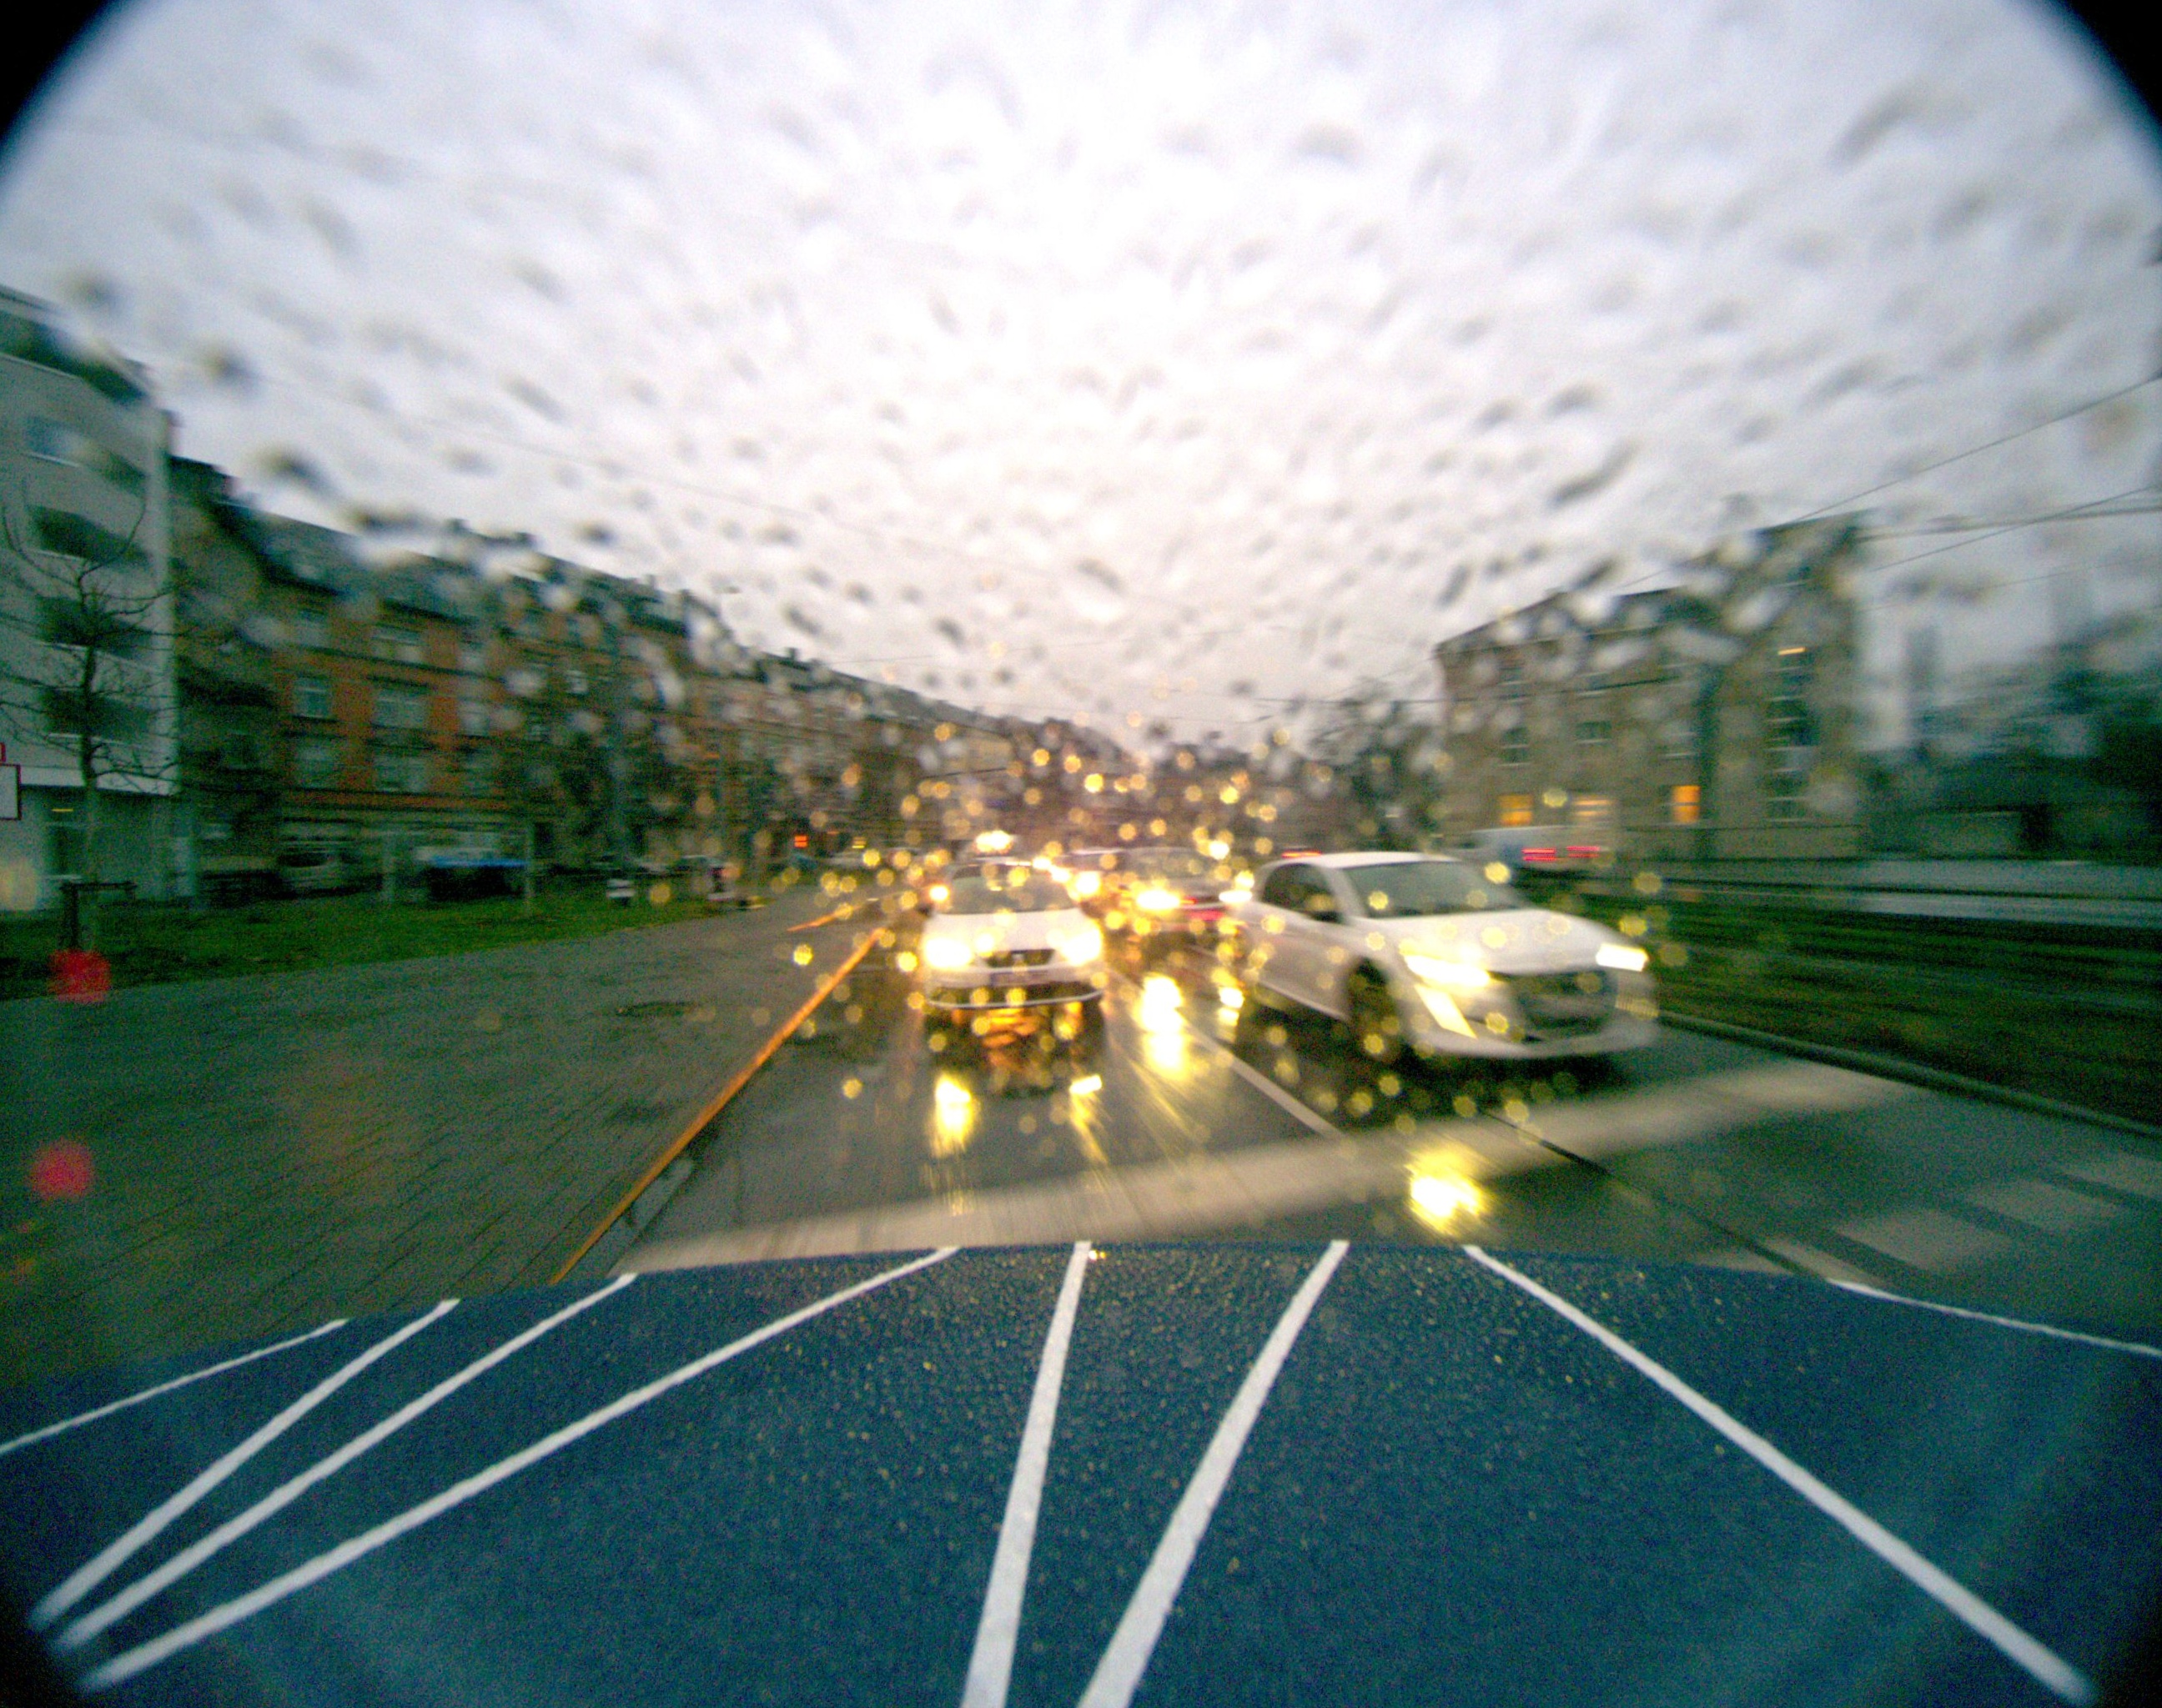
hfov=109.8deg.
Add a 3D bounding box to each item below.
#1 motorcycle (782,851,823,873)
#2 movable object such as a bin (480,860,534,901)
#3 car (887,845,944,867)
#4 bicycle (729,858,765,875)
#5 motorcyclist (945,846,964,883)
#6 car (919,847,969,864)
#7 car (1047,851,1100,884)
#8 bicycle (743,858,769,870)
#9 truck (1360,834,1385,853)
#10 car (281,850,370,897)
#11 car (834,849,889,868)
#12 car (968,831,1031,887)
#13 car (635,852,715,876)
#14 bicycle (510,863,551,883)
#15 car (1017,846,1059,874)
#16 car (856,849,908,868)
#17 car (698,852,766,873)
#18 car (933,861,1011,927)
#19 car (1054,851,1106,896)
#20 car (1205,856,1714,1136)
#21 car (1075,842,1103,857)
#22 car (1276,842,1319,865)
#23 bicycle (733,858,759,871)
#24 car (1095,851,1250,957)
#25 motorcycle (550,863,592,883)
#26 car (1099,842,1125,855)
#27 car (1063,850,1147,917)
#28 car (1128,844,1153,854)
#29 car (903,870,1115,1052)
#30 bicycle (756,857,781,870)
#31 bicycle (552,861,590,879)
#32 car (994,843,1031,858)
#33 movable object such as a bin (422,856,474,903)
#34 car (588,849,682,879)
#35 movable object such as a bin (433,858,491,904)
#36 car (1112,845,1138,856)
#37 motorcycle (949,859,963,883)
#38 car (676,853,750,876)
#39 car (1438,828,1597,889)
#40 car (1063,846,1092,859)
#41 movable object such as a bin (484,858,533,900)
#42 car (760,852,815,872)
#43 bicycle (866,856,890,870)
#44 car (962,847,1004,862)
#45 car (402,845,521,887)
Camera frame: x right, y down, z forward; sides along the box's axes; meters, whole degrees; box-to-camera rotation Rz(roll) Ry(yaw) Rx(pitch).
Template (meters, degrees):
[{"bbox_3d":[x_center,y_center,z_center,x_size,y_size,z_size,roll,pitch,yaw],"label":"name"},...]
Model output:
[{"bbox_3d":[-17.876,0.493,48.849,2.353,1.338,0.885,2,2,13],"label":"motorcycle"},{"bbox_3d":[-20.468,0.926,27.099,1.050,1.424,1.227,0,1,34],"label":"movable object such as a bin"},{"bbox_3d":[-13.762,0.178,63.225,4.343,1.758,1.781,-1,1,-2],"label":"car"},{"bbox_3d":[-20.004,0.737,45.541,1.911,1.013,0.535,0,2,-41],"label":"bicycle"},{"bbox_3d":[-6.656,0.541,39.911,0.886,1.871,0.921,-1,1,-5],"label":"motorcyclist"},{"bbox_3d":[-11.827,0.118,65.668,3.960,1.436,1.702,-1,1,4],"label":"car"},{"bbox_3d":[-0.289,0.595,36.581,1.875,1.466,4.173,-2,0,8],"label":"car"},{"bbox_3d":[-21.992,0.680,51.390,1.791,0.773,0.446,1,2,22],"label":"bicycle"},{"bbox_3d":[32.199,-1.148,83.763,1.833,2.032,4.007,0,1,31],"label":"truck"},{"bbox_3d":[-33.361,0.796,33.693,1.946,1.931,4.586,-2,1,-35],"label":"car"},{"bbox_3d":[-16.760,0.346,58.062,3.686,1.391,1.521,-1,1,-1],"label":"car"},{"bbox_3d":[-3.826,0.170,36.784,2.241,2.449,5.669,-2,1,2],"label":"car"},{"bbox_3d":[-23.689,0.557,44.452,3.686,1.298,1.741,-1,1,-2],"label":"car"},{"bbox_3d":[-27.095,0.912,37.396,1.793,0.926,0.446,1,2,5],"label":"bicycle"},{"bbox_3d":[-2.769,0.352,50.027,1.875,1.679,4.173,-2,1,9],"label":"car"},{"bbox_3d":[-15.852,0.348,60.654,3.686,1.428,1.521,-1,1,-1],"label":"car"},{"bbox_3d":[-22.663,0.547,49.367,3.686,1.298,1.520,-1,1,-2],"label":"car"},{"bbox_3d":[-2.790,0.933,19.427,1.724,1.380,3.818,-2,1,-8],"label":"car"},{"bbox_3d":[-0.082,0.656,27.284,1.690,1.422,3.345,-2,1,-2],"label":"car"},{"bbox_3d":[2.563,0.800,6.322,1.764,1.455,3.913,-3,1,-10],"label":"car"},{"bbox_3d":[0.933,-0.543,90.614,3.182,1.615,1.429,-1,1,7],"label":"car"},{"bbox_3d":[13.733,-0.034,48.413,1.644,1.378,4.476,-1,1,3],"label":"car"},{"bbox_3d":[-22.441,0.684,50.858,1.791,0.790,0.446,1,2,22],"label":"bicycle"},{"bbox_3d":[1.464,0.759,13.850,1.826,1.561,4.358,-1,1,-7],"label":"car"},{"bbox_3d":[-25.986,0.965,38.739,1.794,0.926,0.512,1,1,-1],"label":"motorcycle"},{"bbox_3d":[3.900,-0.679,95.400,3.182,1.615,1.446,-1,1,7],"label":"car"},{"bbox_3d":[0.535,0.692,20.568,1.676,1.590,4.220,-1,1,-6],"label":"car"},{"bbox_3d":[7.901,-0.623,101.271,3.182,1.276,1.382,-1,1,9],"label":"car"},{"bbox_3d":[-0.768,0.977,8.751,1.788,1.370,4.220,-3,1,-4],"label":"car"},{"bbox_3d":[-21.585,0.648,52.530,1.791,0.813,0.395,1,2,19],"label":"bicycle"},{"bbox_3d":[-27.172,0.852,40.508,1.793,0.926,0.446,1,2,5],"label":"bicycle"},{"bbox_3d":[-6.788,-0.372,75.877,3.612,1.362,1.617,-1,1,-3],"label":"car"},{"bbox_3d":[-22.319,0.882,26.796,1.050,1.566,1.142,0,1,34],"label":"movable object such as a bin"},{"bbox_3d":[-24.718,0.556,42.228,4.154,1.560,1.741,-1,1,-2],"label":"car"},{"bbox_3d":[-21.044,0.901,25.846,1.050,1.502,1.255,0,1,34],"label":"movable object such as a bin"},{"bbox_3d":[5.726,-0.470,97.973,3.182,1.405,1.382,-1,1,9],"label":"car"},{"bbox_3d":[-6.560,0.869,39.962,0.484,1.176,2.408,-1,1,-5],"label":"motorcycle"},{"bbox_3d":[-22.678,0.617,46.897,3.686,1.298,1.668,-1,1,-2],"label":"car"},{"bbox_3d":[14.583,0.121,25.788,1.905,1.861,4.957,-1,1,-11],"label":"car"},{"bbox_3d":[-0.403,-0.167,87.890,3.182,1.420,1.429,-1,1,7],"label":"car"},{"bbox_3d":[-21.152,0.910,28.071,1.050,1.477,1.142,0,1,34],"label":"movable object such as a bin"},{"bbox_3d":[-21.026,0.556,54.546,3.299,1.298,1.521,-1,1,-1],"label":"car"},{"bbox_3d":[-14.087,0.643,52.670,1.790,0.926,0.447,1,2,27],"label":"bicycle"},{"bbox_3d":[-9.136,0.034,70.882,3.611,1.362,1.618,-1,1,3],"label":"car"},{"bbox_3d":[-34.418,0.624,42.357,1.995,2.176,4.669,-1,1,27],"label":"car"}]
